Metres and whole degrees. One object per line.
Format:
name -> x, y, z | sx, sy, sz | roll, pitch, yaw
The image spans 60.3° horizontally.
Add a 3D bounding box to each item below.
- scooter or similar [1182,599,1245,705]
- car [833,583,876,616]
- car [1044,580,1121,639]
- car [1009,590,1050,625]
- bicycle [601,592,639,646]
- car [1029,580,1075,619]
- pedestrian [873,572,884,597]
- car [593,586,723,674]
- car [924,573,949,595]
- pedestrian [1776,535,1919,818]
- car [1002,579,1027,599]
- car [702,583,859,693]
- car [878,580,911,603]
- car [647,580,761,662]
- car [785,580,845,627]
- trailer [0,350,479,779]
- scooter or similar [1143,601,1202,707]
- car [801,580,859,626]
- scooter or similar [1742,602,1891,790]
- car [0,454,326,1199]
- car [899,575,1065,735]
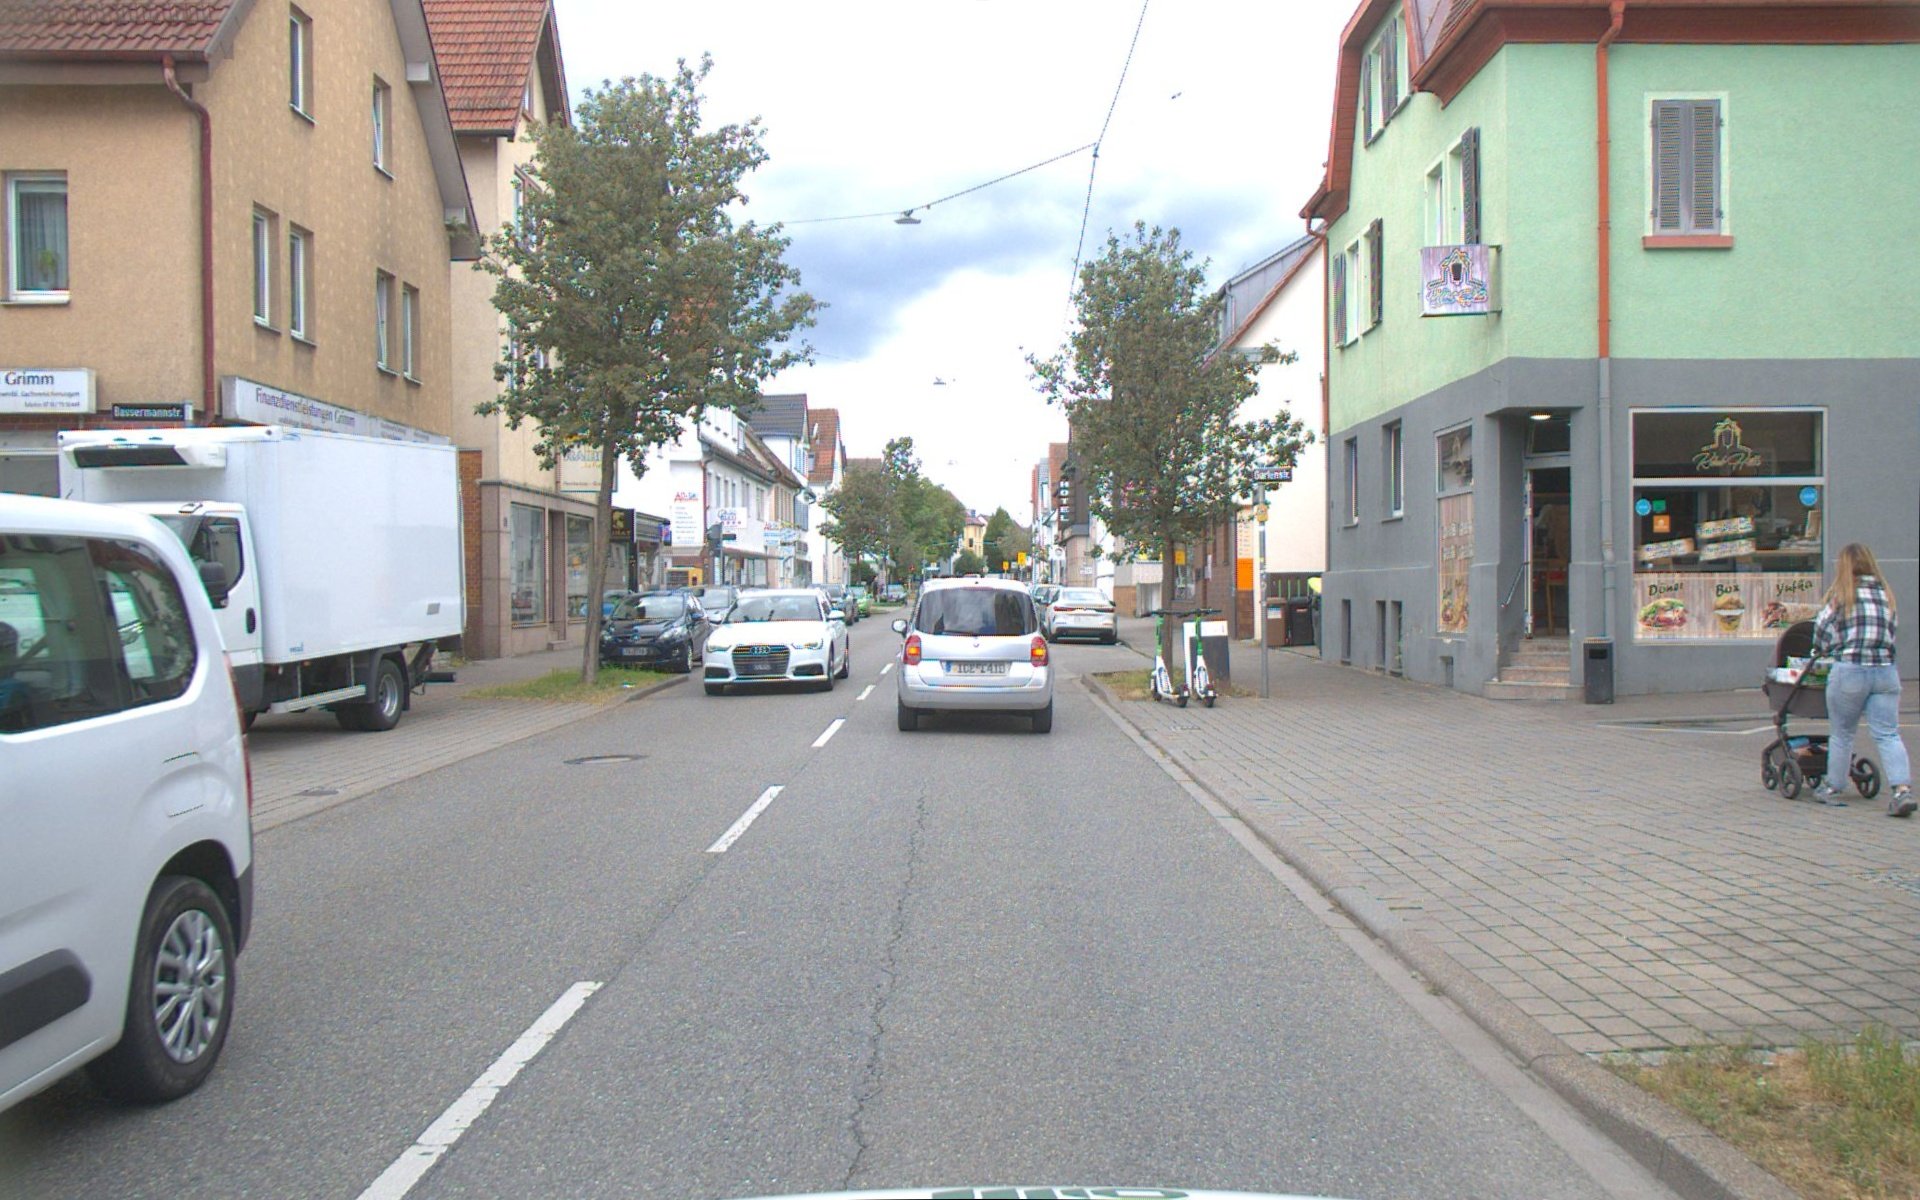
scooter or similar -> 3.186, 0.622, 20.889 | 0.491, 1.257, 1.942 | 0, 0, 0
car -> -5.017, -0.033, 79.034 | 1.647, 1.473, 4.021 | -2, 0, 1
car -> 3.202, 0.215, 43.882 | 1.793, 1.471, 4.332 | 1, 1, 1
car -> 3.068, 0.307, 73.534 | 1.719, 1.471, 4.455 | 1, 1, 1
bicycle -> -8.151, 0.448, 39.732 | 0.491, 1.257, 1.942 | 0, 0, 0
car -> 3.798, -0.044, 68.876 | 1.793, 1.524, 3.994 | 1, 1, 1
pedestrian -> -6.084, -1.174, 123.530 | 0.747, 1.822, 0.890 | 0, 0, 0
car -> -5.502, 0.501, 30.597 | 1.648, 1.449, 3.931 | -2, 0, 0
car -> -1.951, -1.319, 136.220 | 1.861, 1.767, 4.367 | -2, 0, 1
pedestrian -> 5.867, 0.473, 10.696 | 0.735, 1.750, 0.900 | 0, 0, 0
car -> 4.001, -0.810, 121.762 | 1.666, 1.492, 4.239 | 0, 0, 0
car -> -2.616, 0.504, 25.092 | 1.805, 1.458, 4.544 | -2, 0, 1
car -> -4.513, -0.580, 114.193 | 1.908, 1.493, 4.517 | -3, 0, 1
car -> -5.456, 0.409, 35.654 | 1.674, 1.593, 4.114 | -2, 0, 1
car -> -5.039, 0.105, 57.867 | 1.647, 1.525, 3.776 | -2, 0, 1
trailer -> -7.301, -0.310, 16.301 | 2.450, 3.275, 7.140 | 0, 0, 5
scooter or similar -> 2.663, 0.648, 20.883 | 0.491, 1.257, 1.942 | 0, 0, 0
car -> -4.934, 0.088, 63.265 | 1.766, 1.627, 4.305 | -2, 0, 1
scooter or similar -> 5.997, 0.652, 11.620 | 0.577, 1.254, 0.891 | 0, 0, 0
car -> -3.196, 0.601, 3.554 | 1.953, 1.827, 4.277 | -1, 0, 0
car -> 0.264, 0.534, 18.628 | 1.647, 1.593, 3.994 | 1, 1, 1
